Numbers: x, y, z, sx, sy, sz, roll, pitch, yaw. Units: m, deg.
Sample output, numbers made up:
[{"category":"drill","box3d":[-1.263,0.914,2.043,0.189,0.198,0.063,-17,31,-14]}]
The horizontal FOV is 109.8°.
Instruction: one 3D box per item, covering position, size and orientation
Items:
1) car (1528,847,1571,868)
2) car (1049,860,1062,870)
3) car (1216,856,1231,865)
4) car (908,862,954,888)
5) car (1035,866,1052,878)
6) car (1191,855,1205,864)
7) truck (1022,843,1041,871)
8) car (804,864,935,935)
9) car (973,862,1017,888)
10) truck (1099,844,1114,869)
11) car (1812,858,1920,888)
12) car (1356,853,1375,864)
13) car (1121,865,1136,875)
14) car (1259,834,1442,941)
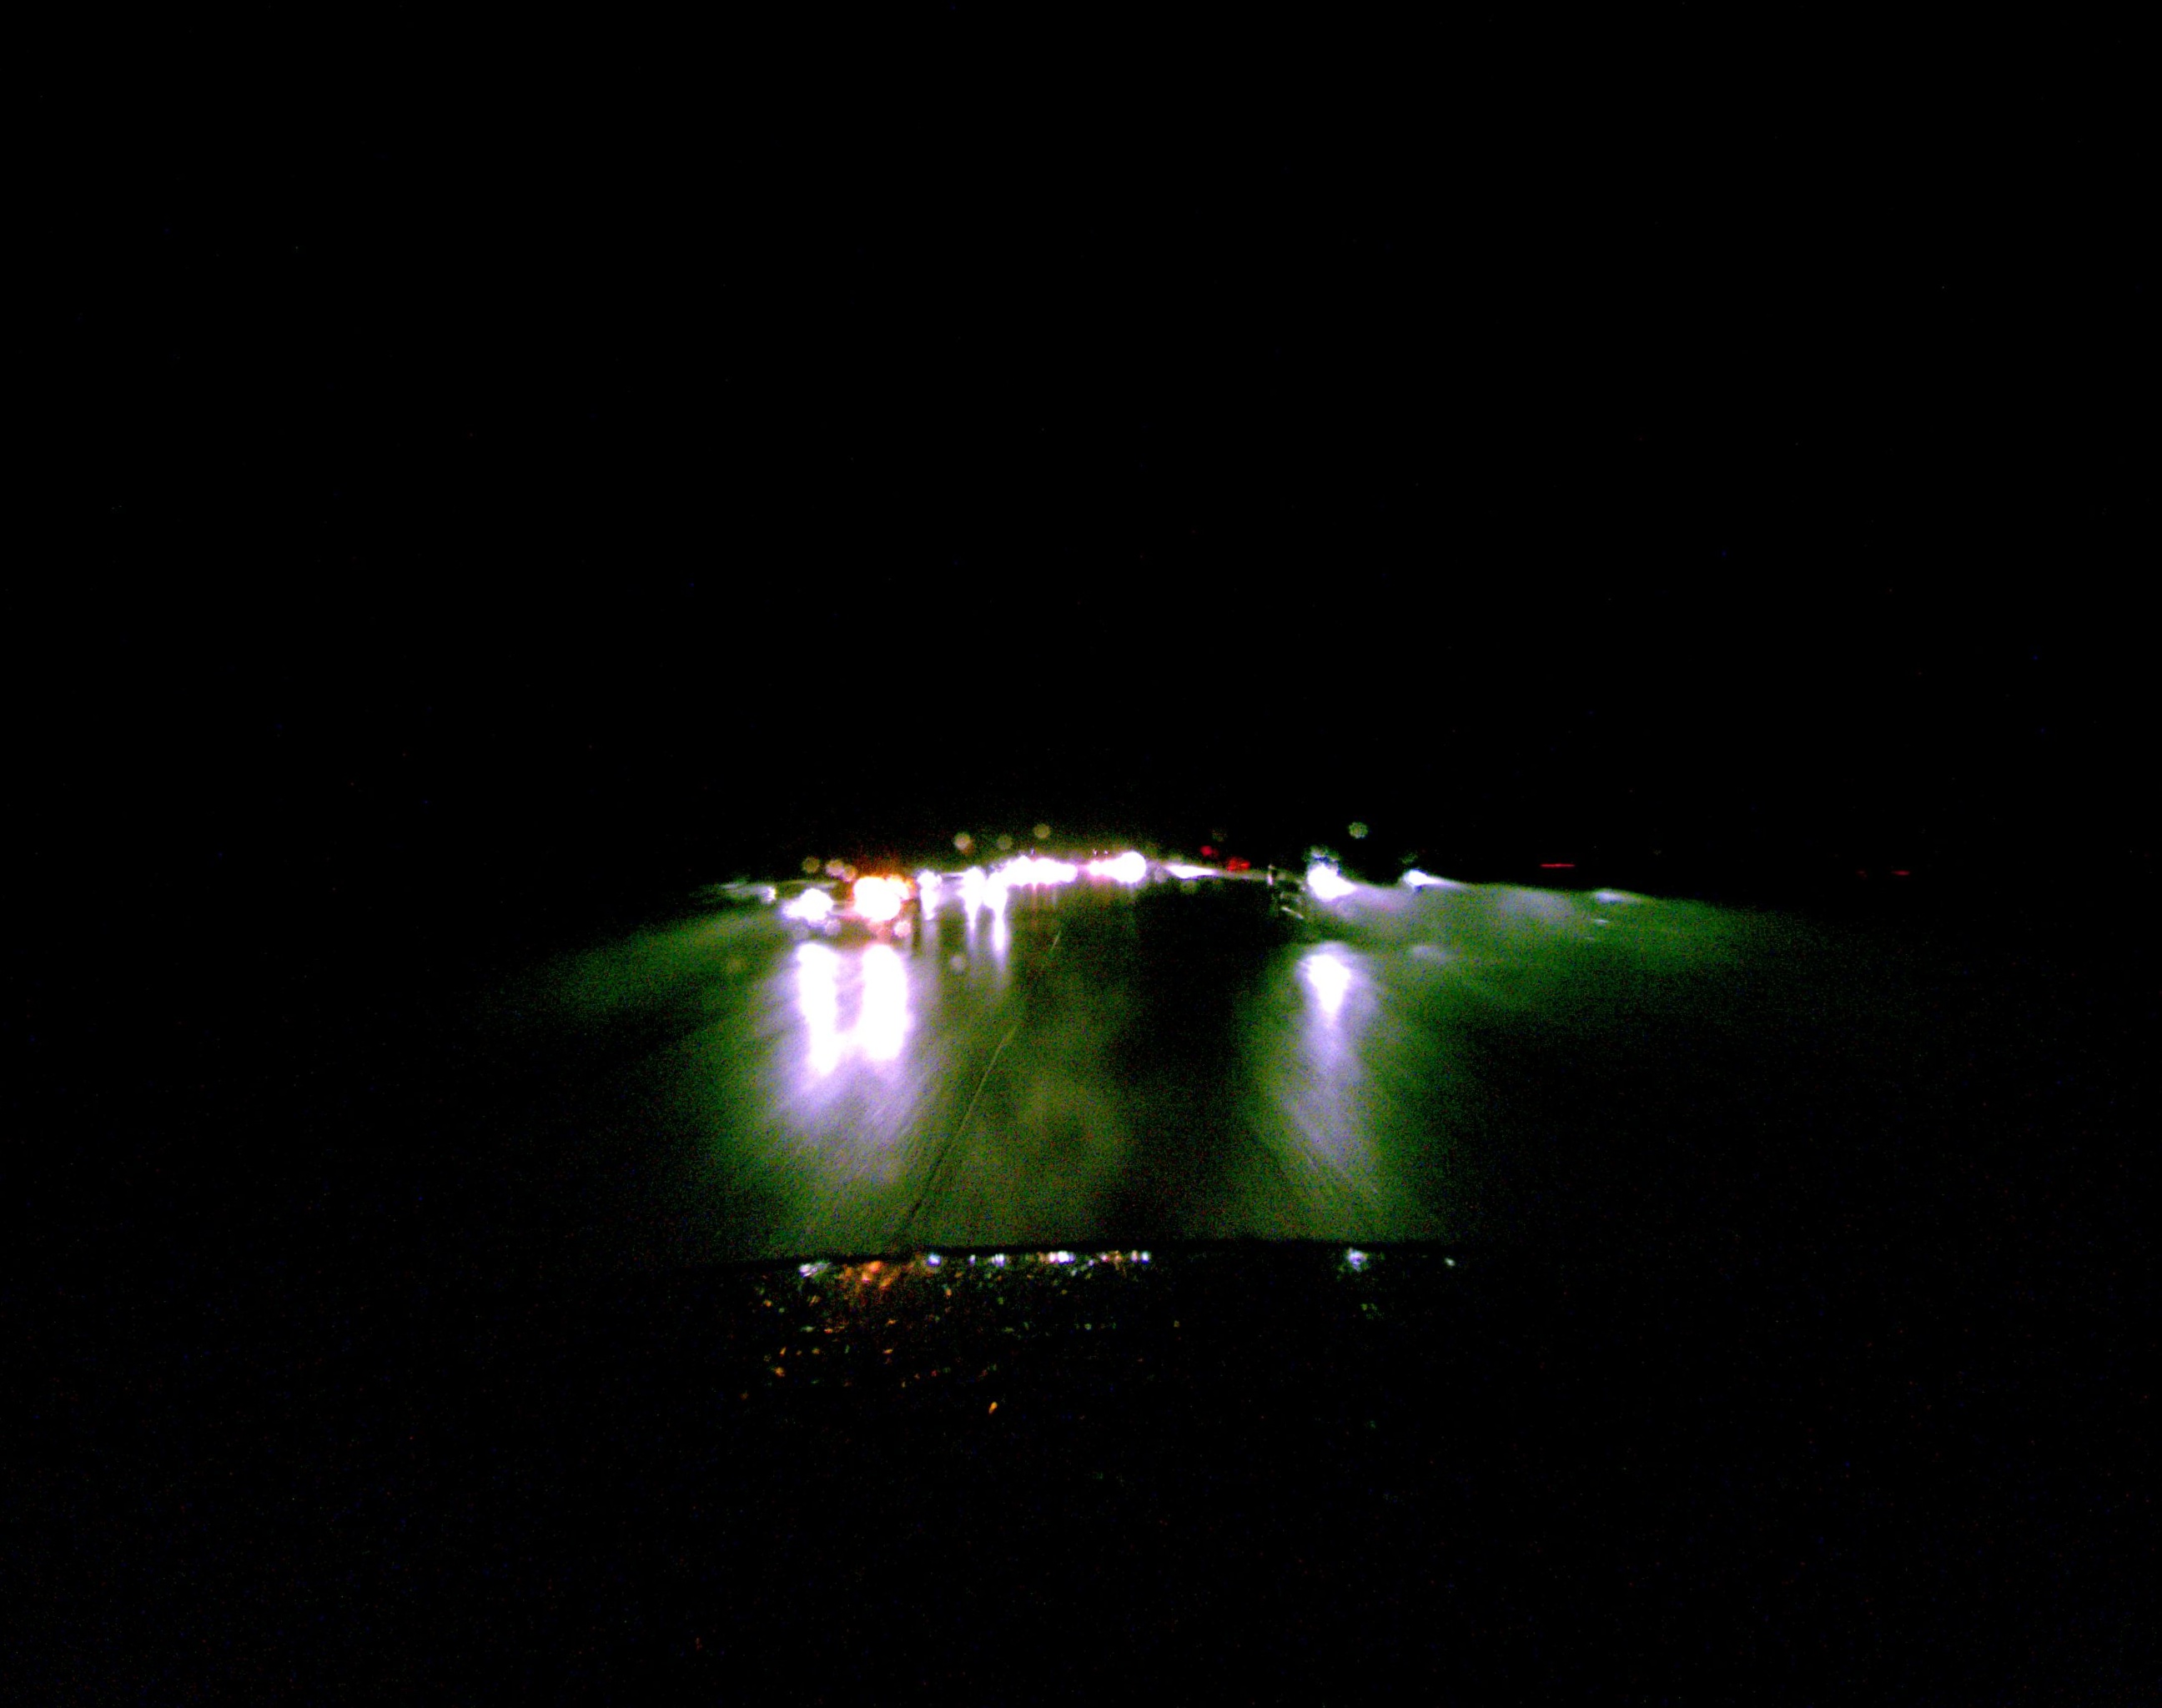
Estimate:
[{"category":"car","box3d":[40.085,0.280,65.062,1.718,1.646,3.664,2,1,7]},{"category":"car","box3d":[-3.590,1.546,106.660,1.712,1.286,3.991,1,-2,-4]},{"category":"car","box3d":[24.512,1.043,130.521,1.844,1.451,4.292,2,1,1]},{"category":"car","box3d":[-9.367,1.292,47.669,1.723,1.488,4.046,-2,-1,4]},{"category":"car","box3d":[-4.193,2.062,84.689,1.712,1.286,3.991,1,-2,-4]},{"category":"car","box3d":[21.038,0.992,136.431,1.844,1.451,4.292,2,1,1]},{"category":"truck","box3d":[-7.791,0.446,119.658,2.766,4.198,6.191,1,1,-4]},{"category":"car","box3d":[-5.291,1.064,19.776,2.063,1.510,5.015,-2,0,-1]},{"category":"car","box3d":[-5.330,1.269,47.678,1.998,1.440,4.336,-2,0,3]},{"category":"truck","box3d":[4.513,0.411,135.457,2.503,4.223,5.981,2,1,1]},{"category":"car","box3d":[36.983,0.862,35.929,1.489,1.277,3.555,2,1,3]},{"category":"car","box3d":[50.079,0.767,133.706,1.998,1.761,4.572,-2,-1,6]},{"category":"car","box3d":[6.294,2.103,101.298,1.711,1.286,3.992,1,-2,0]},{"category":"car","box3d":[5.428,0.569,16.245,2.142,1.873,5.555,-1,1,3]}]
